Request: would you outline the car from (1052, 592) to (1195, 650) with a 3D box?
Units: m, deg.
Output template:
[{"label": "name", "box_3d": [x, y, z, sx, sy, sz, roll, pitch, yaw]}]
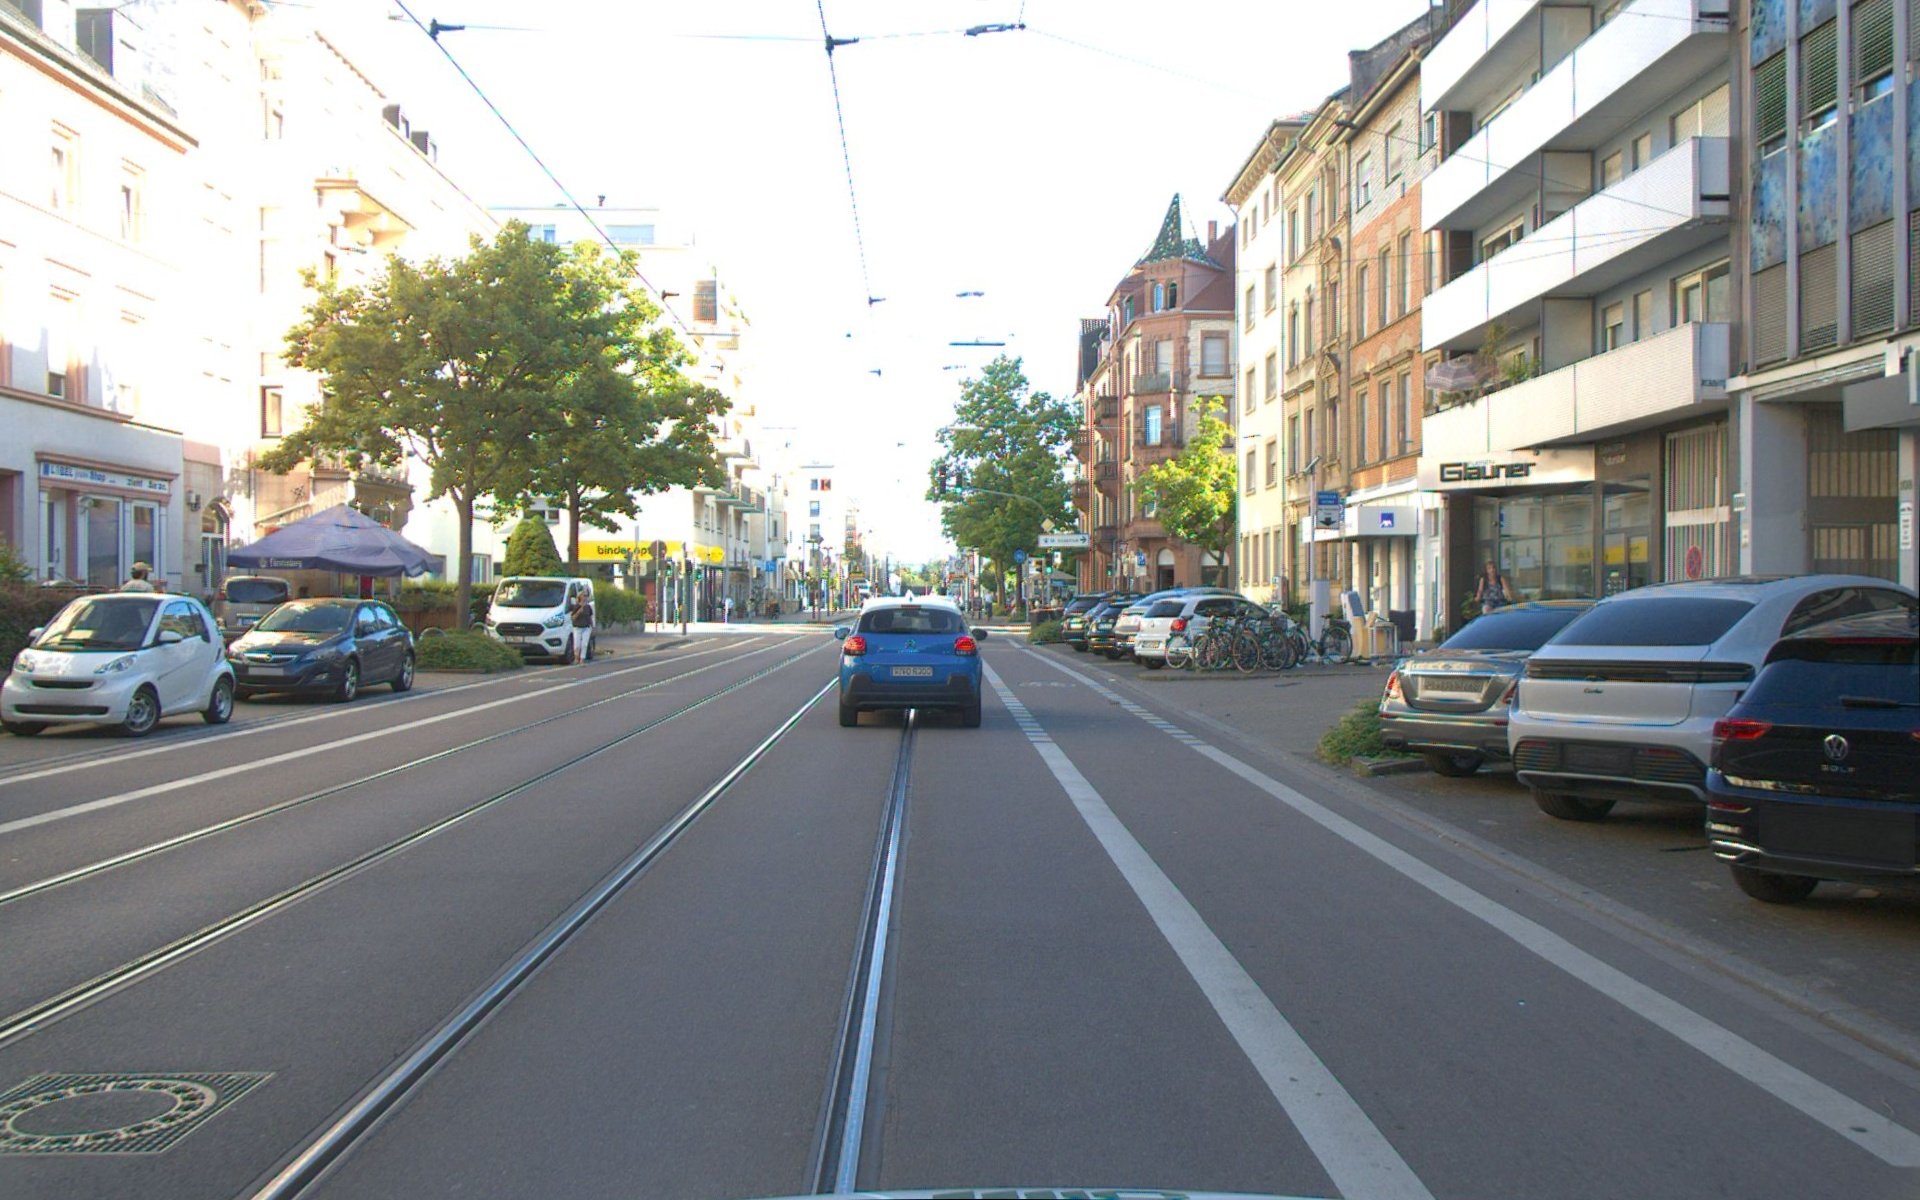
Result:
[{"label": "car", "box_3d": [4.585, 0.588, 46.522, 3.601, 1.561, 1.778, 1, 0, -21]}]

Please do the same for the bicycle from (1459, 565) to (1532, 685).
[{"label": "bicycle", "box_3d": [9.558, 0.429, 29.614, 0.713, 2.049, 2.359, 0, 0, 5]}]

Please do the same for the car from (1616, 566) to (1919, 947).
[{"label": "car", "box_3d": [5.124, 0.661, 8.288, 3.409, 1.582, 1.804, 1, 0, -33]}]

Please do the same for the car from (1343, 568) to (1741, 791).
[{"label": "car", "box_3d": [5.022, 0.607, 14.133, 3.417, 1.668, 1.662, 1, 0, -38]}]

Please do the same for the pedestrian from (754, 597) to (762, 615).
[{"label": "pedestrian", "box_3d": [-13.650, 0.399, 111.555, 0.379, 1.237, 0.432, 0, 0, -38]}]

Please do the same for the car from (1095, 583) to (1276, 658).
[{"label": "car", "box_3d": [5.023, 0.457, 36.919, 3.601, 1.601, 1.850, 1, 0, -21]}]

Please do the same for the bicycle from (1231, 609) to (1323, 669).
[{"label": "bicycle", "box_3d": [5.838, 0.699, 30.556, 0.549, 1.066, 1.785, 1, 0, -36]}]

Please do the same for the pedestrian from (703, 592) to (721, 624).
[{"label": "pedestrian", "box_3d": [-13.613, 0.443, 90.828, 0.926, 1.782, 0.699, 0, 0, -5]}]

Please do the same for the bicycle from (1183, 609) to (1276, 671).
[{"label": "bicycle", "box_3d": [4.839, 0.701, 29.800, 0.549, 1.066, 1.785, 1, 0, -36]}]

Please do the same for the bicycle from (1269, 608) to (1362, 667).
[{"label": "bicycle", "box_3d": [6.717, 0.701, 31.323, 0.549, 1.066, 1.782, 1, 0, -39]}]

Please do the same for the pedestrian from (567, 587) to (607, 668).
[{"label": "pedestrian", "box_3d": [-8.191, 0.603, 36.302, 0.720, 1.756, 0.623, 1, 0, -25]}]

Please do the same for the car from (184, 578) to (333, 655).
[{"label": "car", "box_3d": [-14.466, 0.329, 34.307, 1.600, 1.494, 3.526, 0, 0, -1]}]

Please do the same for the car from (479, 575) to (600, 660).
[{"label": "car", "box_3d": [-9.786, 0.399, 38.829, 1.794, 1.880, 4.213, 0, 0, -1]}]

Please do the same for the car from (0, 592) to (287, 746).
[{"label": "car", "box_3d": [-9.754, 0.750, 19.945, 1.713, 1.646, 4.407, 0, 0, -4]}]

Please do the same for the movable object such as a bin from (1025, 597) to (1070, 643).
[{"label": "movable object such as a bin", "box_3d": [2.940, 0.668, 55.768, 1.366, 1.509, 1.655, 0, 0, -1]}]

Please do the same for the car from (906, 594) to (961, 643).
[{"label": "car", "box_3d": [-0.903, 0.622, 57.789, 1.835, 1.624, 3.999, 0, 0, -1]}]

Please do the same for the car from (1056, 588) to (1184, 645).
[{"label": "car", "box_3d": [5.025, 0.511, 52.051, 3.601, 1.745, 1.778, 1, 0, -21]}]

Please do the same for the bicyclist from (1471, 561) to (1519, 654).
[{"label": "bicyclist", "box_3d": [9.567, 0.135, 29.595, 0.717, 1.651, 0.529, 0, 0, 5]}]

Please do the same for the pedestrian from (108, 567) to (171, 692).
[{"label": "pedestrian", "box_3d": [-12.306, 0.436, 24.819, 0.612, 1.856, 0.659, 0, 0, -1]}]

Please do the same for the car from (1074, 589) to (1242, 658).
[{"label": "car", "box_3d": [4.765, 0.557, 39.934, 3.601, 1.601, 1.850, 1, 0, -21]}]

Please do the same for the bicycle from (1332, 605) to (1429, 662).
[{"label": "bicycle", "box_3d": [8.168, 0.640, 32.189, 1.774, 1.066, 0.552, 0, 0, 40]}]

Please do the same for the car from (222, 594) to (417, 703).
[{"label": "car", "box_3d": [-9.584, 0.683, 25.077, 1.713, 1.513, 4.037, 0, 0, -6]}]

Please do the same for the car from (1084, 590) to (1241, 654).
[{"label": "car", "box_3d": [5.234, 0.566, 42.775, 3.601, 1.601, 1.850, 1, 0, -21]}]

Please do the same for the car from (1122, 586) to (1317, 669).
[{"label": "car", "box_3d": [5.313, 0.550, 33.815, 3.615, 1.601, 1.843, 1, 0, -30]}]

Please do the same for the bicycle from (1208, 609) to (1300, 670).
[{"label": "bicycle", "box_3d": [5.351, 0.705, 30.167, 0.549, 1.066, 1.785, 1, 0, -36]}]

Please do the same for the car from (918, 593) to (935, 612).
[{"label": "car", "box_3d": [-2.736, 0.205, 135.448, 1.394, 1.457, 3.138, 0, 0, -1]}]

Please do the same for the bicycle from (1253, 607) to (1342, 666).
[{"label": "bicycle", "box_3d": [6.286, 0.664, 30.892, 0.464, 1.066, 1.784, 1, 0, -36]}]

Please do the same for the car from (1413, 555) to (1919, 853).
[{"label": "car", "box_3d": [5.095, 0.596, 11.218, 3.686, 1.681, 2.024, 1, 0, -34]}]

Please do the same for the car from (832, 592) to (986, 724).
[{"label": "car", "box_3d": [-0.614, 0.658, 20.390, 1.726, 1.466, 3.556, 0, 0, -1]}]
